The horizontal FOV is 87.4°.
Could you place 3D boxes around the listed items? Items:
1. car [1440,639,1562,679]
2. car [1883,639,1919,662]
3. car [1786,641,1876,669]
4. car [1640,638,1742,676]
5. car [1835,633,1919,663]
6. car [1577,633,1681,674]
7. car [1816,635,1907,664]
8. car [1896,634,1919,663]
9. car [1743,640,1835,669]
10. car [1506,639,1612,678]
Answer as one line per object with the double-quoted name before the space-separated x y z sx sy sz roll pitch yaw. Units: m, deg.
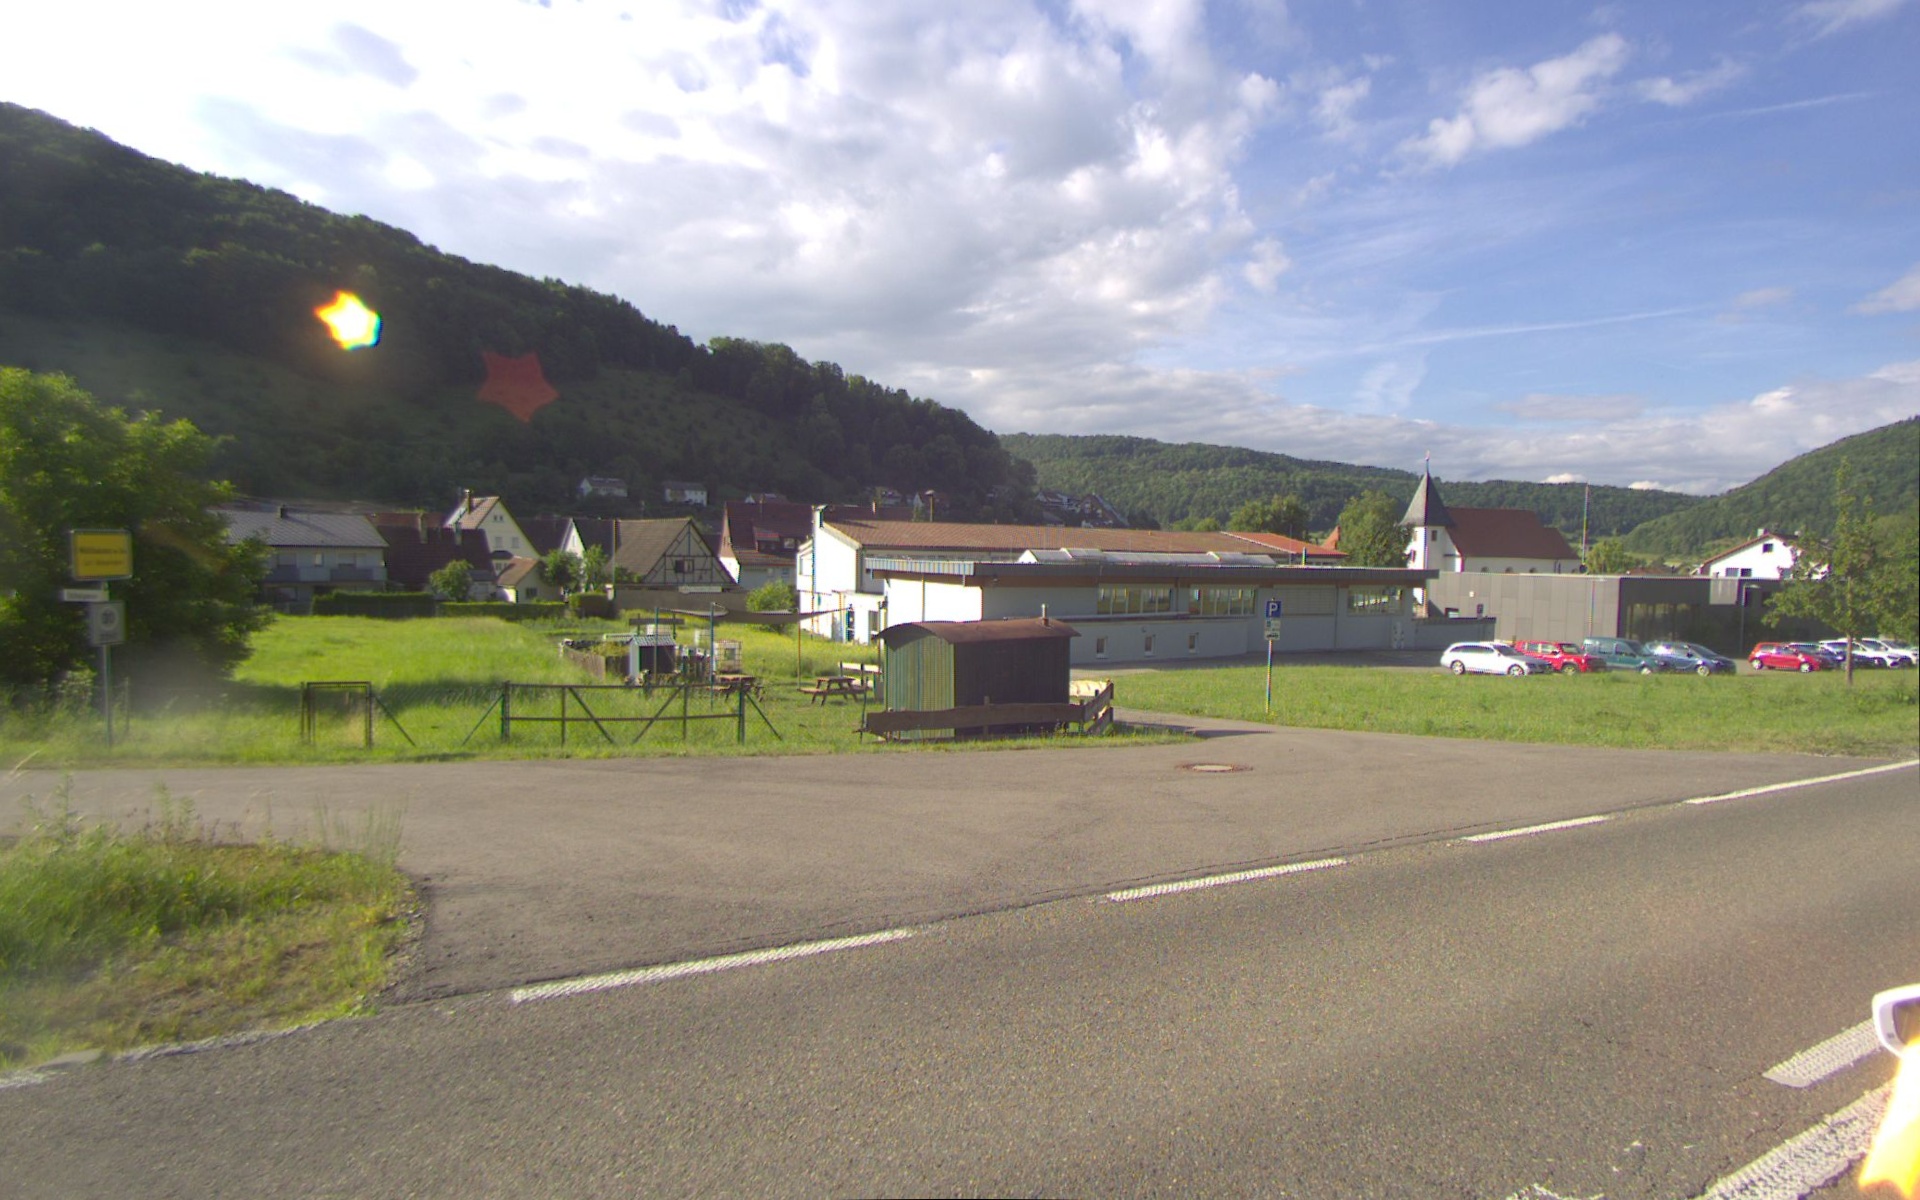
"car" 24.526 2.660 45.707 1.973 1.610 4.626 1 -1 -26
"car" 60.809 3.184 63.488 1.642 1.392 3.351 1 -1 -32
"car" 49.800 3.120 57.499 1.575 1.424 3.614 -1 0 -25
"car" 36.700 2.846 50.534 1.709 1.744 3.806 1 -1 -26
"car" 55.701 2.857 60.627 1.575 1.695 4.065 1 -1 -25
"car" 32.419 2.562 48.801 1.734 1.745 3.846 1 0 -28
"car" 52.806 2.871 58.920 1.575 1.514 3.656 -2 0 -25
"car" 63.318 3.159 64.350 1.816 1.839 4.540 1 -1 -25
"car" 45.539 2.986 55.243 1.626 1.463 3.614 1 -1 -25
"car" 27.499 2.669 46.258 1.732 1.600 3.907 1 -1 -26
